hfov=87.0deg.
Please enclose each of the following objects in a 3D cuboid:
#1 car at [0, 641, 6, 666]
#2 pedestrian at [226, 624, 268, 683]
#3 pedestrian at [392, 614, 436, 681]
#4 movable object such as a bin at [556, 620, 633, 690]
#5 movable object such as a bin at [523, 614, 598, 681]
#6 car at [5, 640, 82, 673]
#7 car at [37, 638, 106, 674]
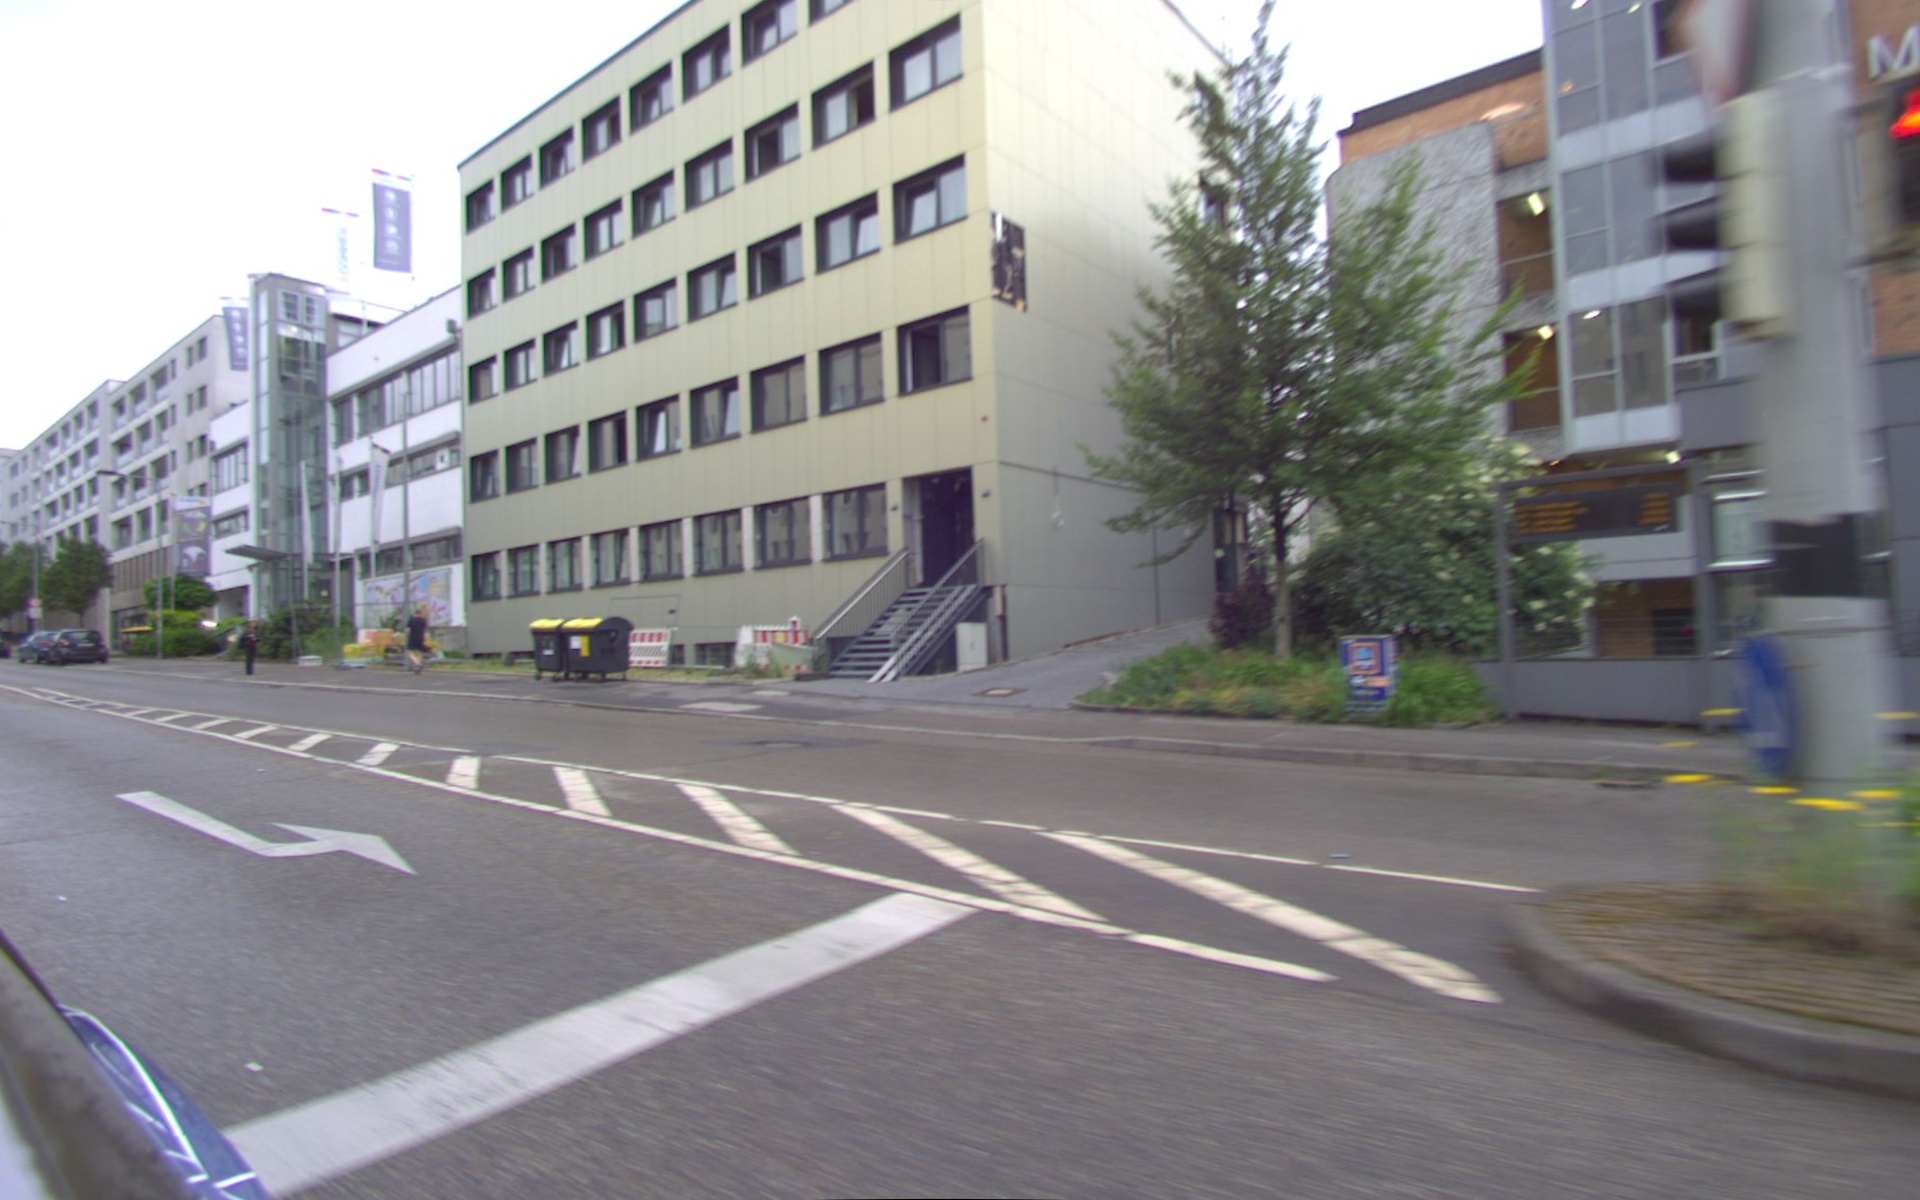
[{"bbox_3d":[-56.380,3.038,58.168,3.734,1.402,1.642,-2,-3,38],"label":"car"},{"bbox_3d":[-21.345,1.596,30.301,0.968,1.689,0.759,-2,0,41],"label":"pedestrian"},{"bbox_3d":[-14.851,1.272,27.535,0.942,1.745,0.747,-2,0,42],"label":"pedestrian"},{"bbox_3d":[-8.124,1.200,22.499,1.357,1.456,1.043,-2,1,41],"label":"movable object such as a bin"},{"bbox_3d":[-9.256,1.080,23.448,1.430,1.456,1.043,-2,1,41],"label":"movable object such as a bin"},{"bbox_3d":[-41.425,2.547,45.716,4.259,1.414,1.642,-2,-3,35],"label":"car"},{"bbox_3d":[-38.063,2.385,43.325,2.975,1.521,1.501,-2,-4,35],"label":"car"}]
